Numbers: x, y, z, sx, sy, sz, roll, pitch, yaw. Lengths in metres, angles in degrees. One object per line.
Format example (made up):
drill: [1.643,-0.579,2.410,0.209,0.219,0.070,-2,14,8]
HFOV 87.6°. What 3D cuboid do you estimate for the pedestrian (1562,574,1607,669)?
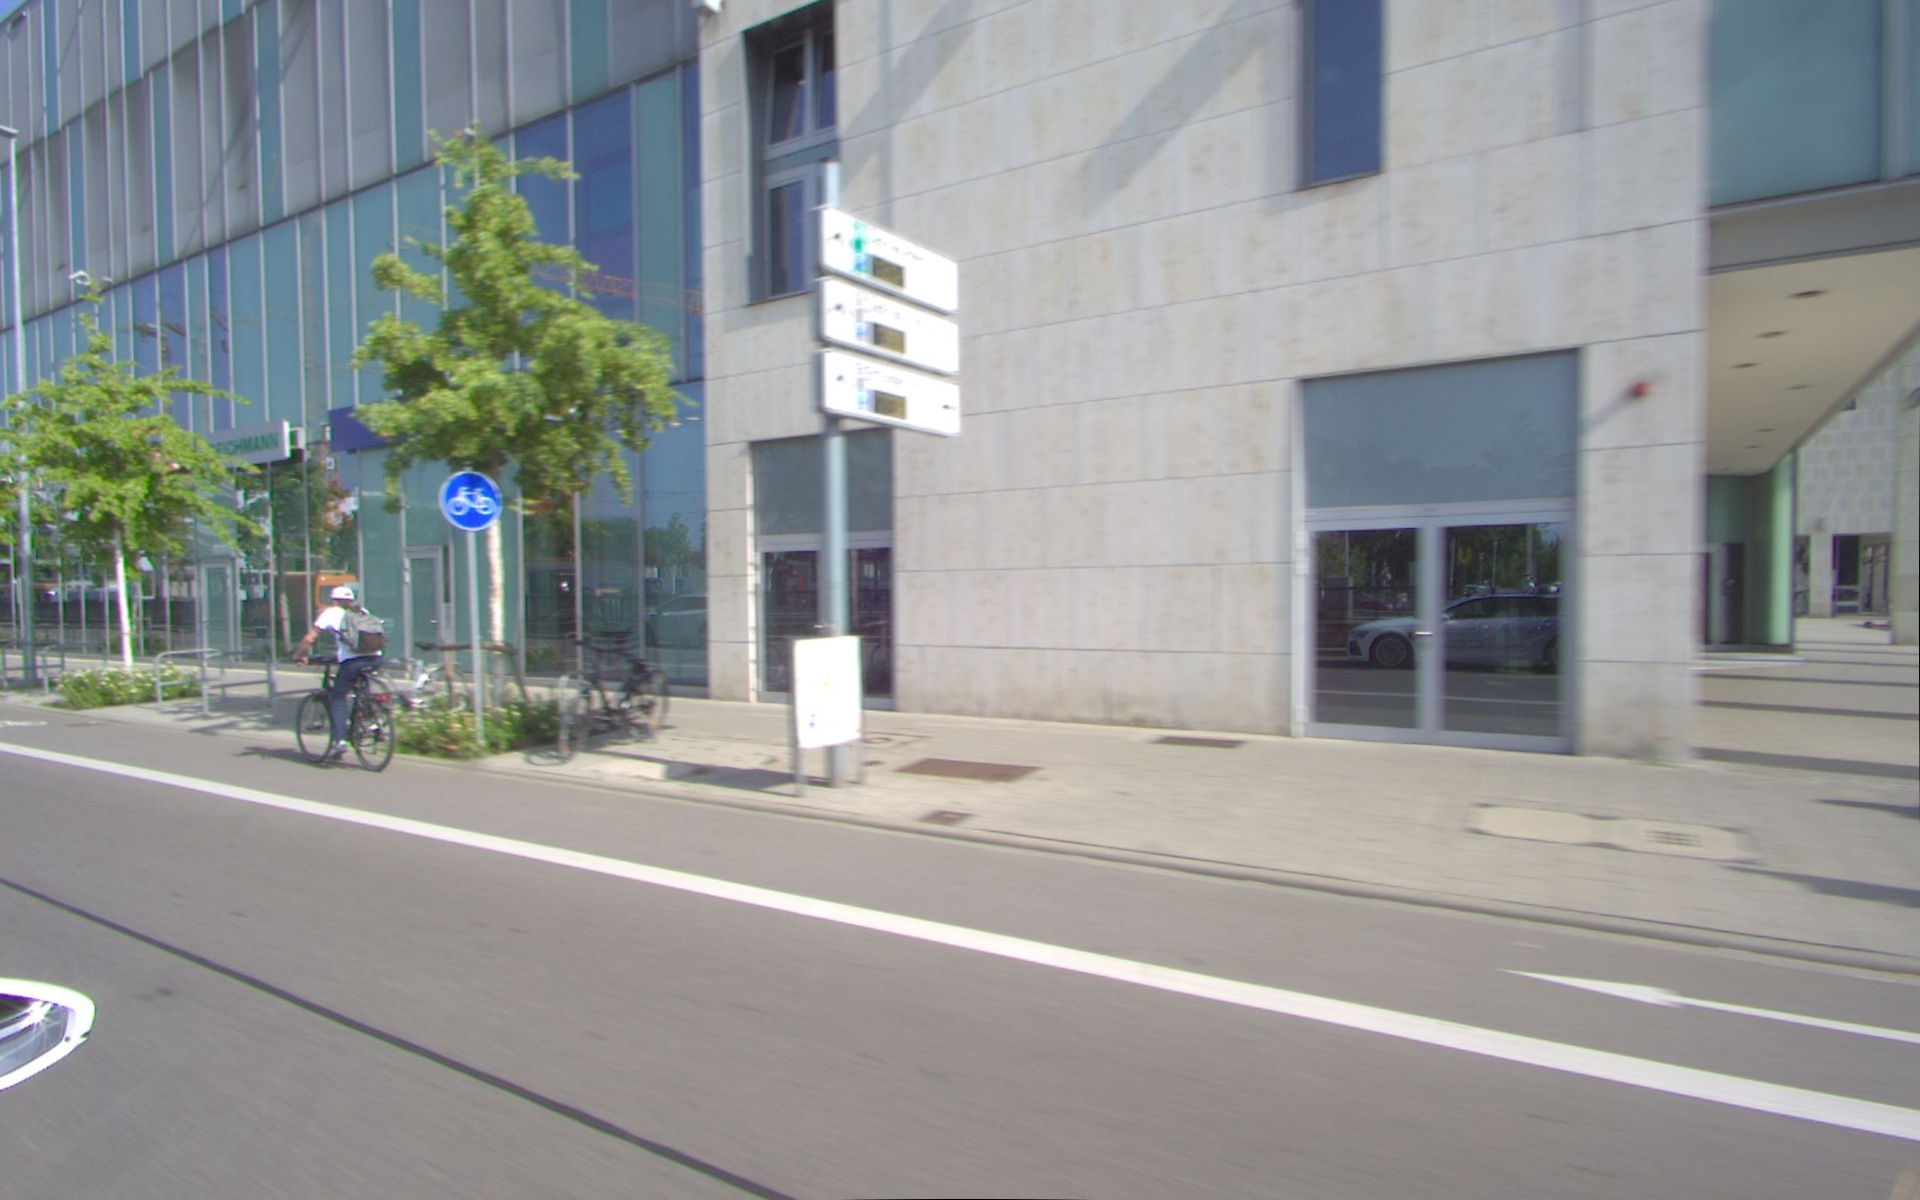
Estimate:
pedestrian: [11.334,0.383,18.171,0.496,1.701,0.455,0,1,-3]

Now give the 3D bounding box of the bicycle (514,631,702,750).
bicycle: [-3.657,0.899,10.565,0.677,1.127,1.836,1,-1,33]

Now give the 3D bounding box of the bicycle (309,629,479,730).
bicycle: [-7.148,0.967,12.749,0.483,1.124,1.874,1,1,33]

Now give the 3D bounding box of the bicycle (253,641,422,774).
bicycle: [-6.236,1.020,9.988,2.022,1.132,0.659,1,1,34]

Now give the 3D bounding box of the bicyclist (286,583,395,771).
bicyclist: [-6.140,0.722,9.927,0.758,1.772,0.649,1,2,34]
